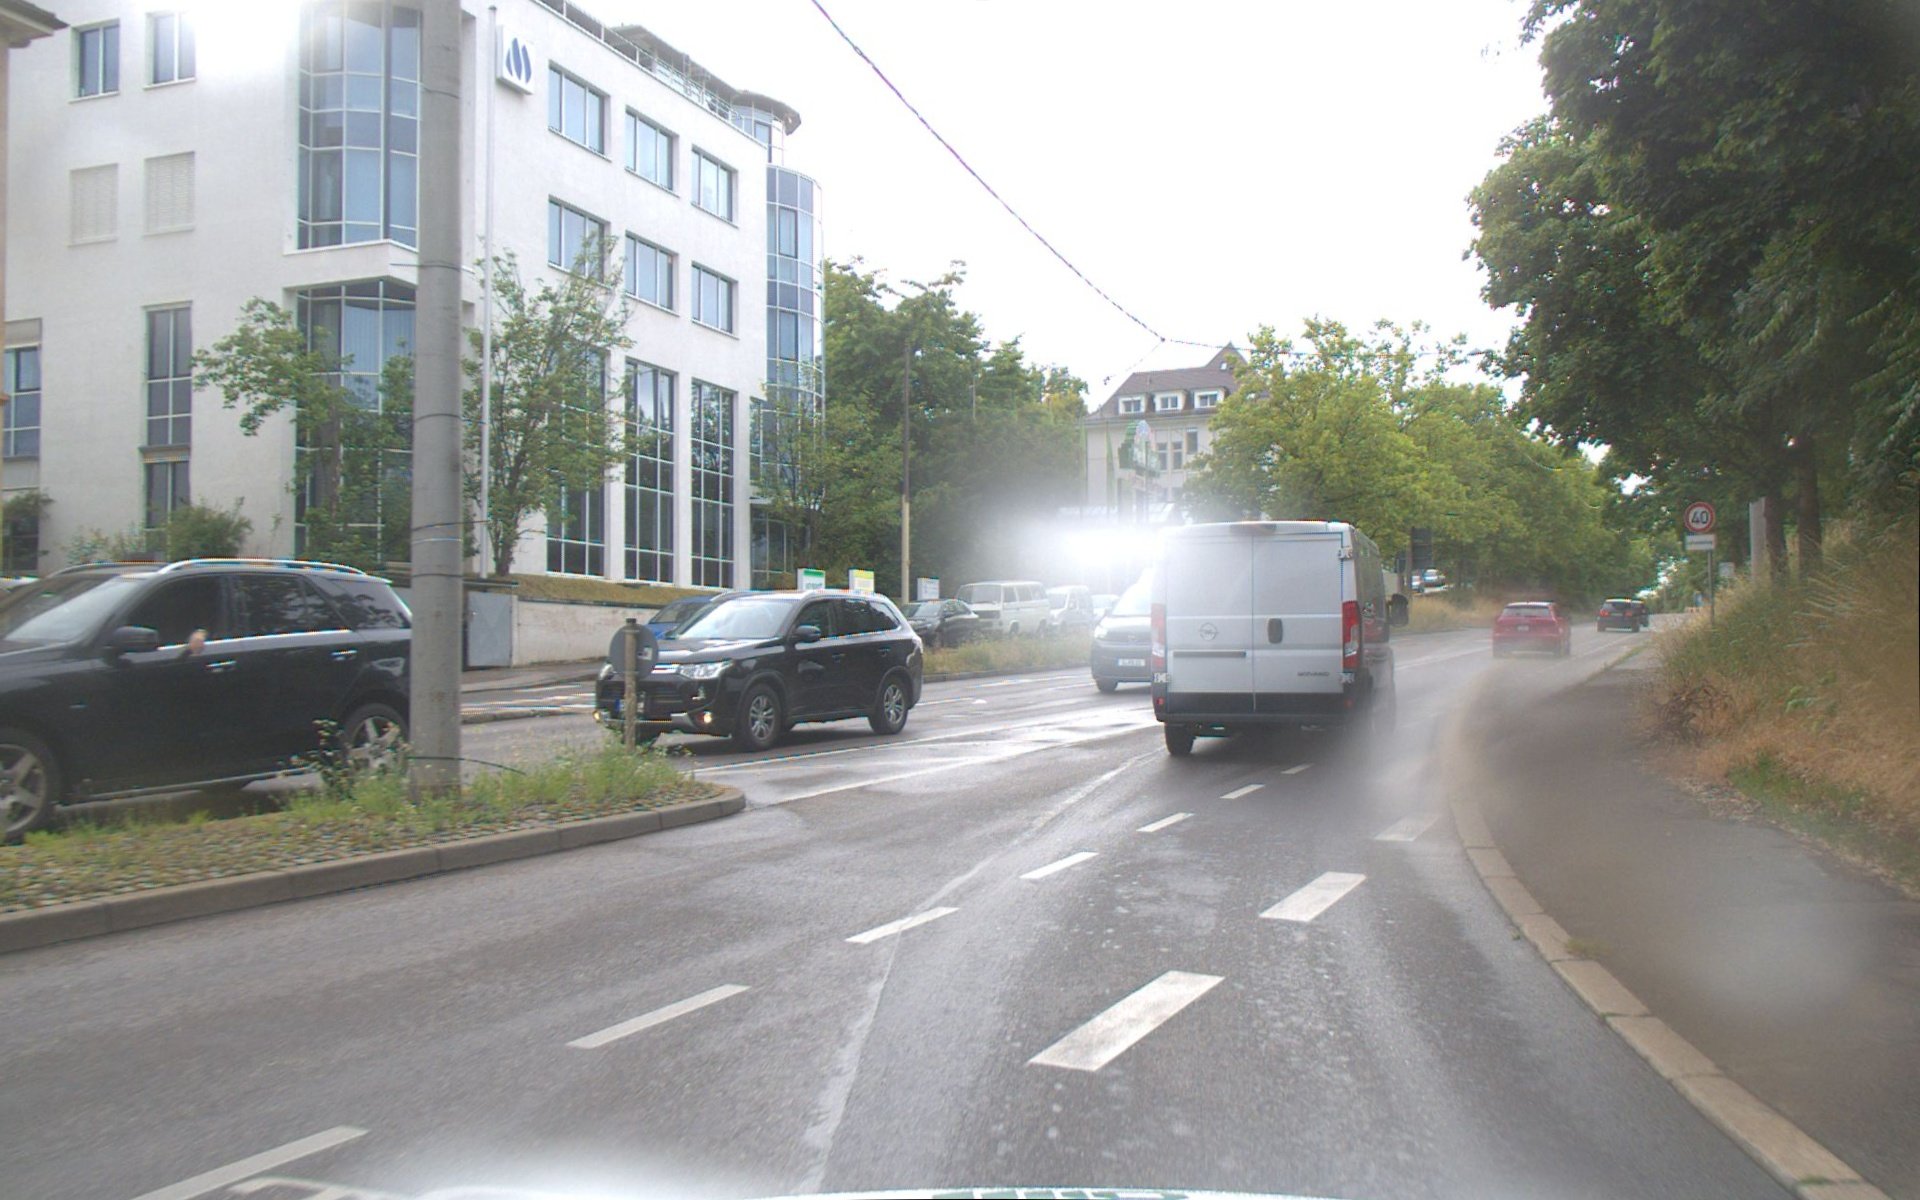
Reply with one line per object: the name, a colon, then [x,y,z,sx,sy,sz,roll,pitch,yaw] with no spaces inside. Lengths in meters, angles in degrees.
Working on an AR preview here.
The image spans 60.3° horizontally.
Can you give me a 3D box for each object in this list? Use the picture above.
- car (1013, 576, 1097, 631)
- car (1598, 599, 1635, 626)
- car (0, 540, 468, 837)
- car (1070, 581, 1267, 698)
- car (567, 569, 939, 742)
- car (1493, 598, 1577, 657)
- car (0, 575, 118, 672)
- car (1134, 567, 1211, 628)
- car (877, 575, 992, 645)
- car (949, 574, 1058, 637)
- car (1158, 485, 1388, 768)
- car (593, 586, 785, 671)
car: [3.209,0.091,54.972,1.559,1.725,3.780,-2,1,23]
car: [29.213,0.569,73.548,1.317,1.159,2.287,-1,-2,26]
car: [-5.768,0.530,11.410,1.917,1.727,4.620,-1,-1,27]
car: [3.822,0.646,29.454,1.975,1.899,5.037,-1,0,26]
car: [-2.075,0.613,18.088,1.656,1.633,4.721,-1,-2,28]
car: [14.922,0.724,42.835,1.660,1.451,3.364,0,-2,26]
car: [-17.318,0.475,30.415,2.980,1.705,1.715,-1,-2,22]
car: [9.170,-0.148,70.926,1.922,2.486,5.657,-2,1,21]
car: [-0.623,0.238,44.694,1.578,1.752,3.993,-2,1,23]
car: [1.383,0.134,50.884,1.735,1.776,4.582,-2,1,23]
car: [3.482,0.254,17.625,2.006,2.561,4.947,0,0,15]
car: [-5.512,0.549,34.285,1.654,1.561,4.671,-2,1,23]
